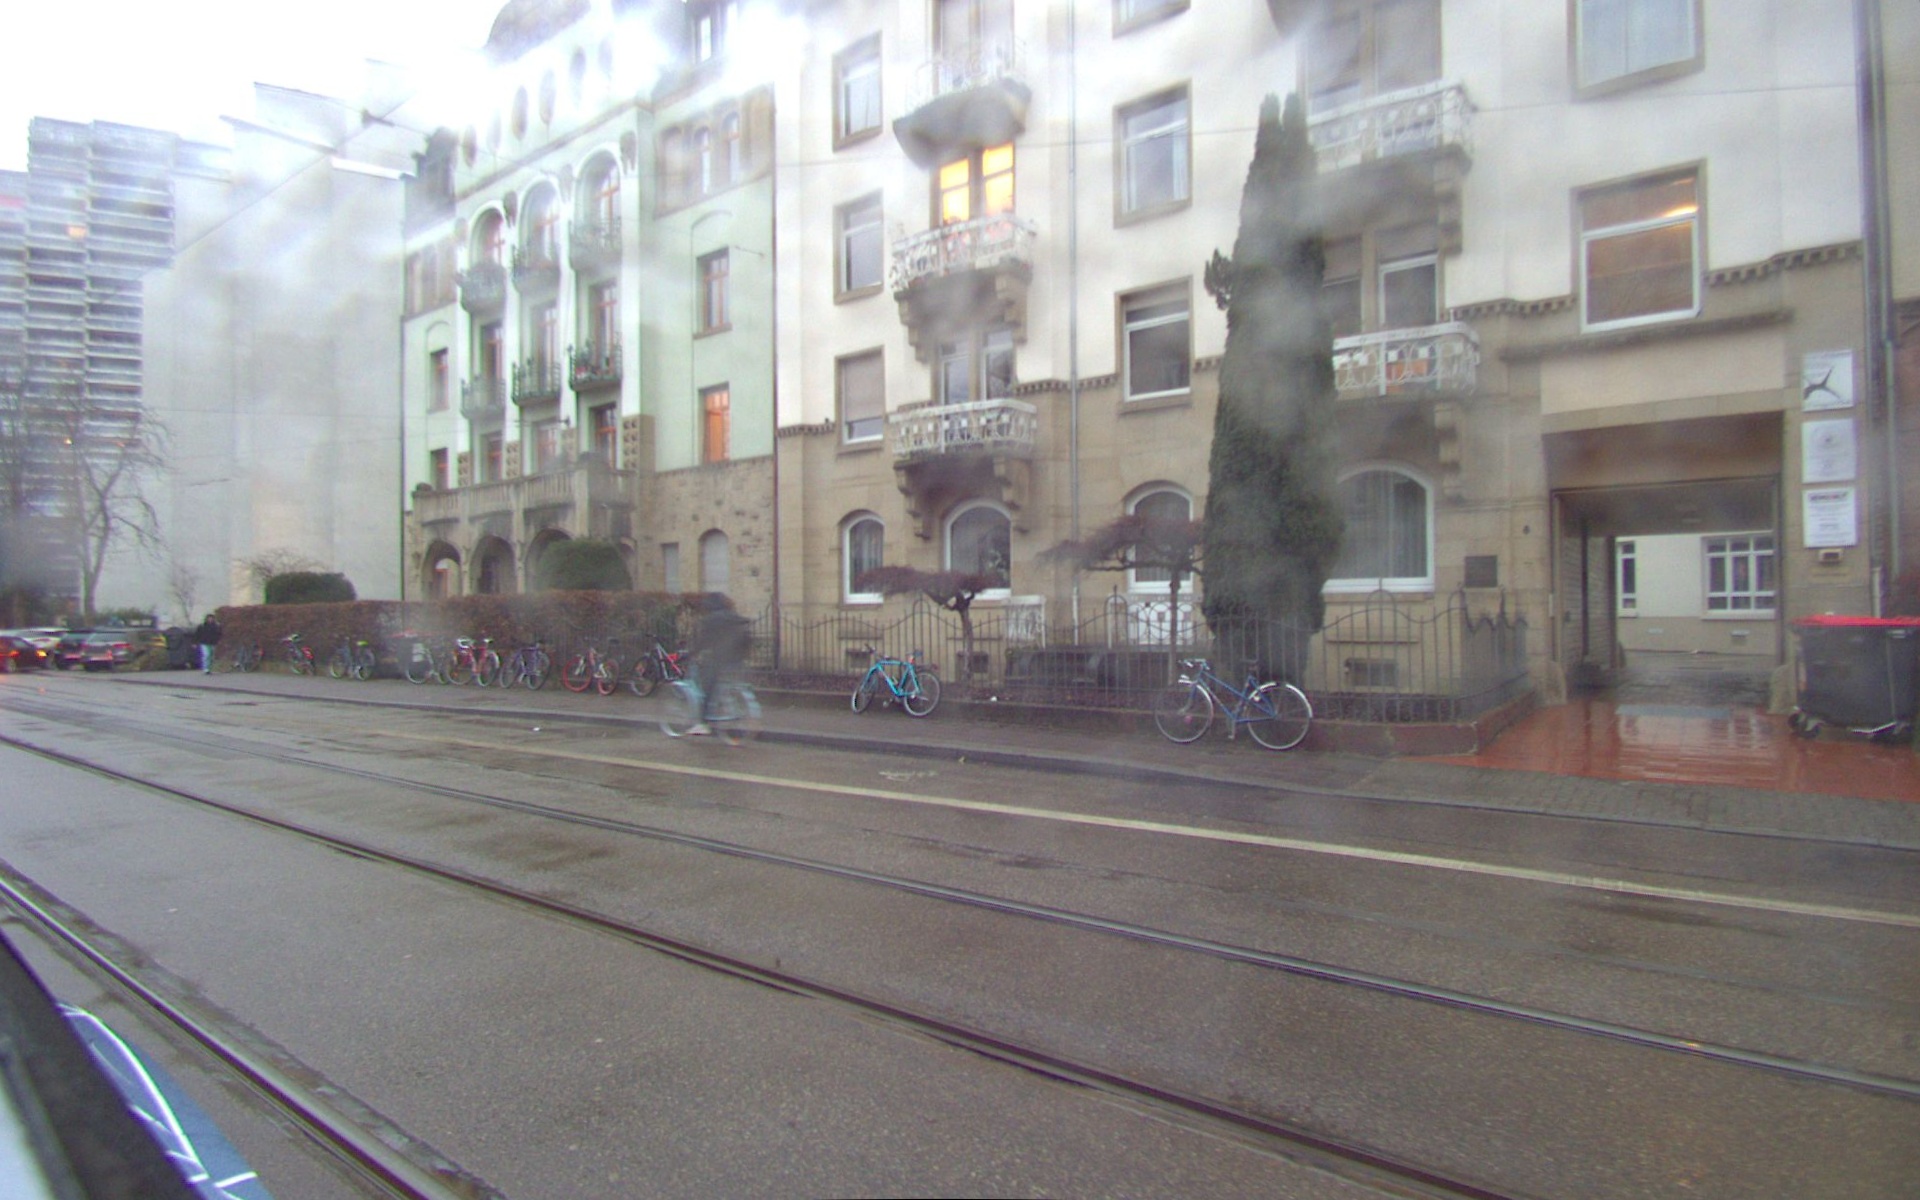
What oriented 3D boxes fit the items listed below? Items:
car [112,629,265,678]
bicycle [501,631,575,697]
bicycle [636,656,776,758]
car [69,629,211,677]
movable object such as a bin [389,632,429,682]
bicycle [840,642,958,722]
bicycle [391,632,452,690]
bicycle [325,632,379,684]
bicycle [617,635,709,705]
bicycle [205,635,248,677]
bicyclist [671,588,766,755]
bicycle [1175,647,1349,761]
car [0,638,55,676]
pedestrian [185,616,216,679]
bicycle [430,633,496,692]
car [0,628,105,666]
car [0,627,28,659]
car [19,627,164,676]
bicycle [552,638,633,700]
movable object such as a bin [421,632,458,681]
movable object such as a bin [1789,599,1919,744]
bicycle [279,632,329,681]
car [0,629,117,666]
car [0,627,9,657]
[{"bbox_3d":[-26.025,1.760,34.310,1.847,1.505,3.989,-1,-1,8],"label":"car"},{"bbox_3d":[-8.172,1.217,19.570,1.661,1.221,0.617,-2,-2,40],"label":"bicycle"},{"bbox_3d":[-3.089,1.246,12.188,1.946,1.101,0.617,-2,-2,40],"label":"bicycle"},{"bbox_3d":[-28.368,1.797,35.194,1.740,1.497,3.999,-1,-1,0],"label":"car"},{"bbox_3d":[-13.329,1.379,24.490,0.674,1.173,0.651,-2,-2,40],"label":"movable object such as a bin"},{"bbox_3d":[-0.857,1.099,13.937,1.661,1.010,0.617,-2,-2,40],"label":"bicycle"},{"bbox_3d":[-11.972,1.339,22.468,1.661,1.221,0.617,-2,-2,40],"label":"bicycle"},{"bbox_3d":[-14.946,1.412,24.860,1.661,1.221,0.617,-2,-2,40],"label":"bicycle"},{"bbox_3d":[-5.095,1.166,17.307,1.781,1.134,0.617,-2,-2,40],"label":"bicycle"},{"bbox_3d":[-21.279,1.618,29.360,1.661,1.173,0.617,-2,-1,40],"label":"bicycle"},{"bbox_3d":[-2.868,0.819,12.006,0.990,1.891,0.617,-2,-2,40],"label":"bicyclist"},{"bbox_3d":[3.189,1.065,10.778,1.661,1.101,0.617,-2,-2,40],"label":"bicycle"},{"bbox_3d":[-32.910,1.927,34.473,1.682,1.262,3.677,0,-2,-17],"label":"car"},{"bbox_3d":[-21.666,1.335,28.861,0.644,1.738,0.567,0,1,41],"label":"pedestrian"},{"bbox_3d":[-10.417,1.291,21.205,1.661,1.173,0.617,-2,-2,40],"label":"bicycle"},{"bbox_3d":[-41.916,2.139,46.510,1.843,1.608,3.999,-1,-1,0],"label":"car"},{"bbox_3d":[-49.762,2.201,51.056,1.843,1.608,3.999,-1,-1,0],"label":"car"},{"bbox_3d":[-31.270,1.801,36.613,1.843,1.608,3.999,-1,-1,0],"label":"car"},{"bbox_3d":[-6.744,1.230,18.517,1.725,1.073,0.617,-2,-2,40],"label":"bicycle"},{"bbox_3d":[-12.903,1.387,25.089,0.674,1.173,0.617,-2,-2,40],"label":"movable object such as a bin"},{"bbox_3d":[9.531,0.722,10.679,1.166,1.390,1.092,-2,1,39],"label":"movable object such as a bin"},{"bbox_3d":[-17.016,1.458,26.250,1.661,1.221,0.617,-2,-2,40],"label":"bicycle"},{"bbox_3d":[-38.977,2.028,43.701,1.843,1.460,3.999,-1,-1,0],"label":"car"},{"bbox_3d":[-52.488,2.247,52.879,1.843,1.608,3.999,-1,-1,0],"label":"car"}]
